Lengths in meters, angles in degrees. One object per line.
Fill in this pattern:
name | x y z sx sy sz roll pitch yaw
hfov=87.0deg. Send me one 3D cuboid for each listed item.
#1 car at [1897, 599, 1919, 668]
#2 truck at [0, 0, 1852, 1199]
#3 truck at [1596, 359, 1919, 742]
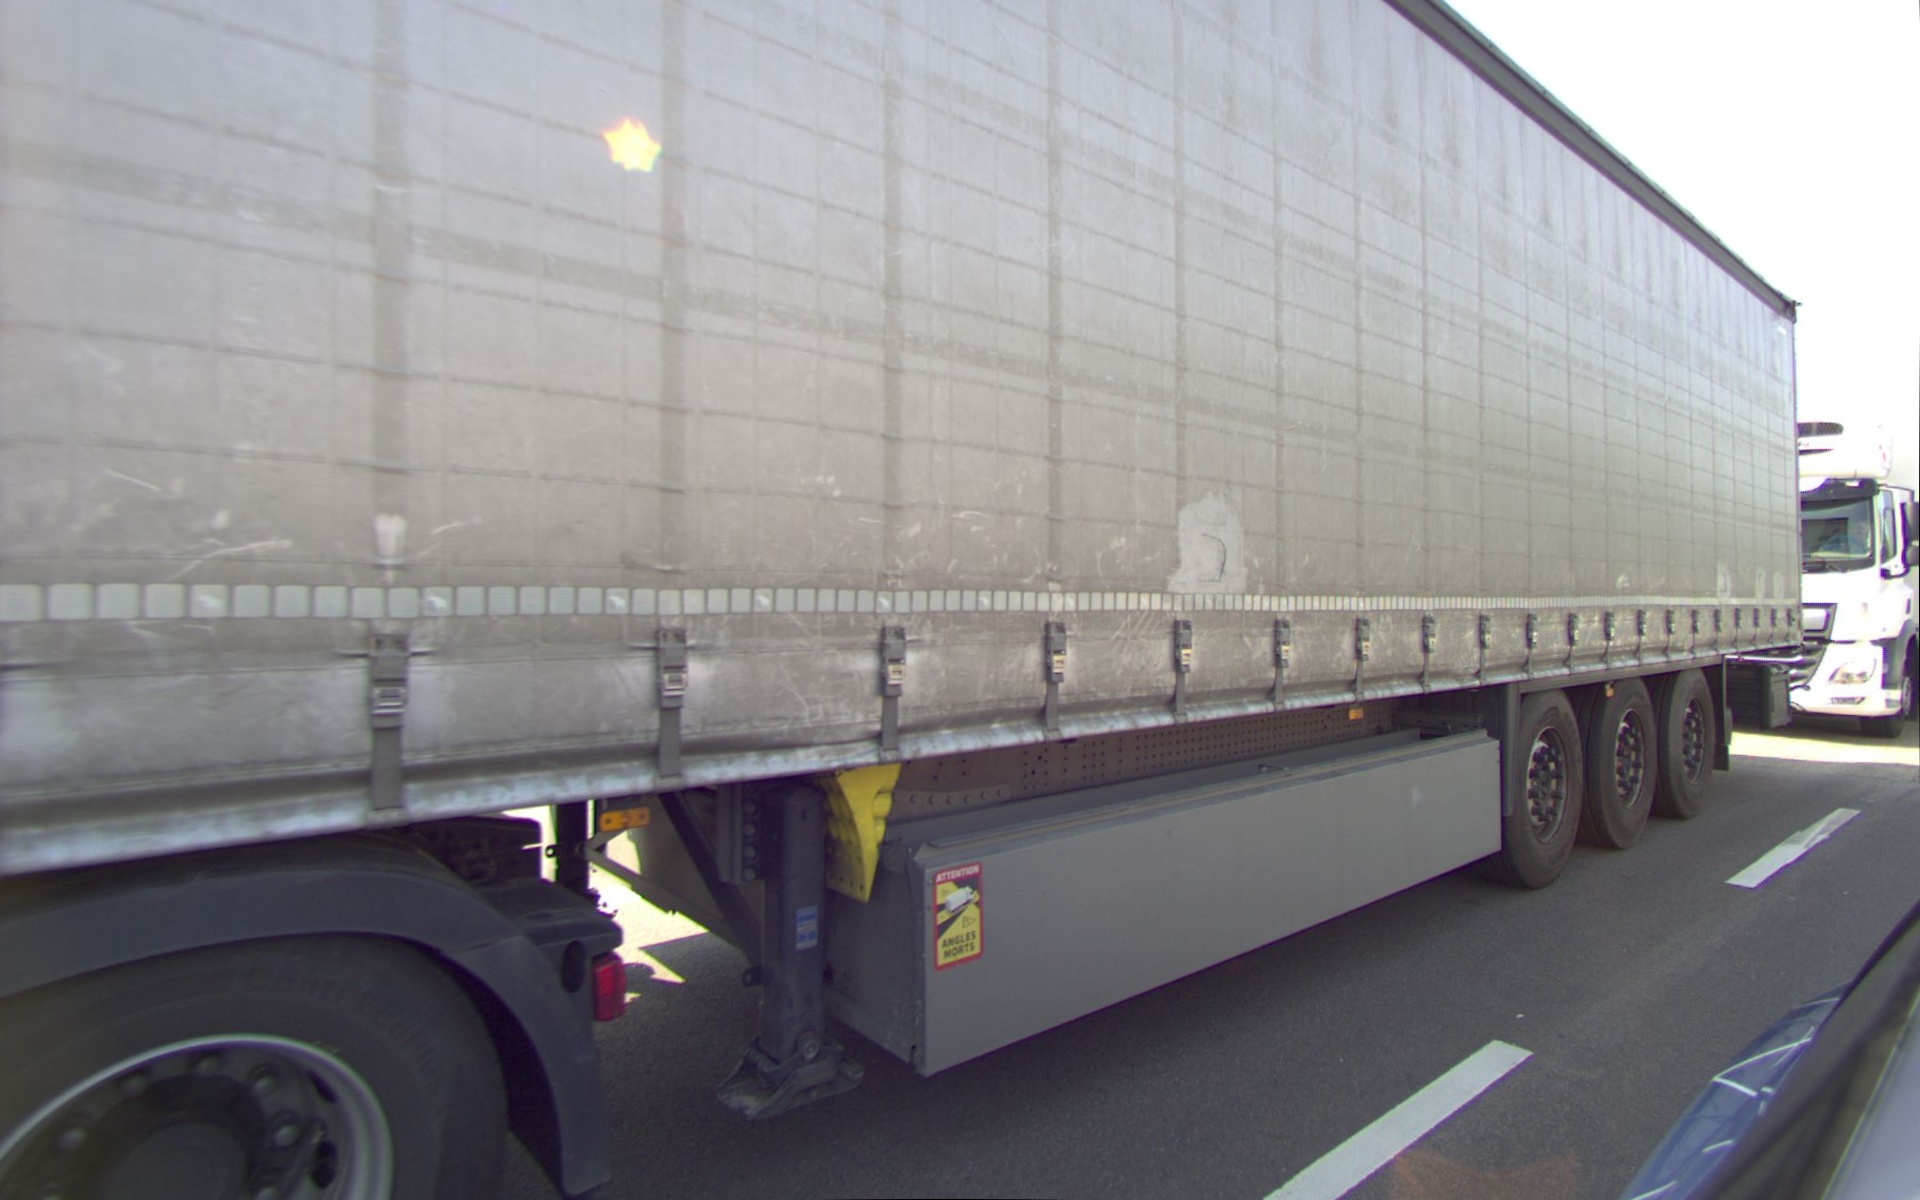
car | 22.234 0.681 22.312 4.149 1.447 1.738 -1 -1 -40
truck | 0.381 -0.750 4.527 16.412 4.320 2.895 0 -1 -40
truck | 13.023 -0.502 14.762 10.940 3.860 2.885 0 -1 -39
